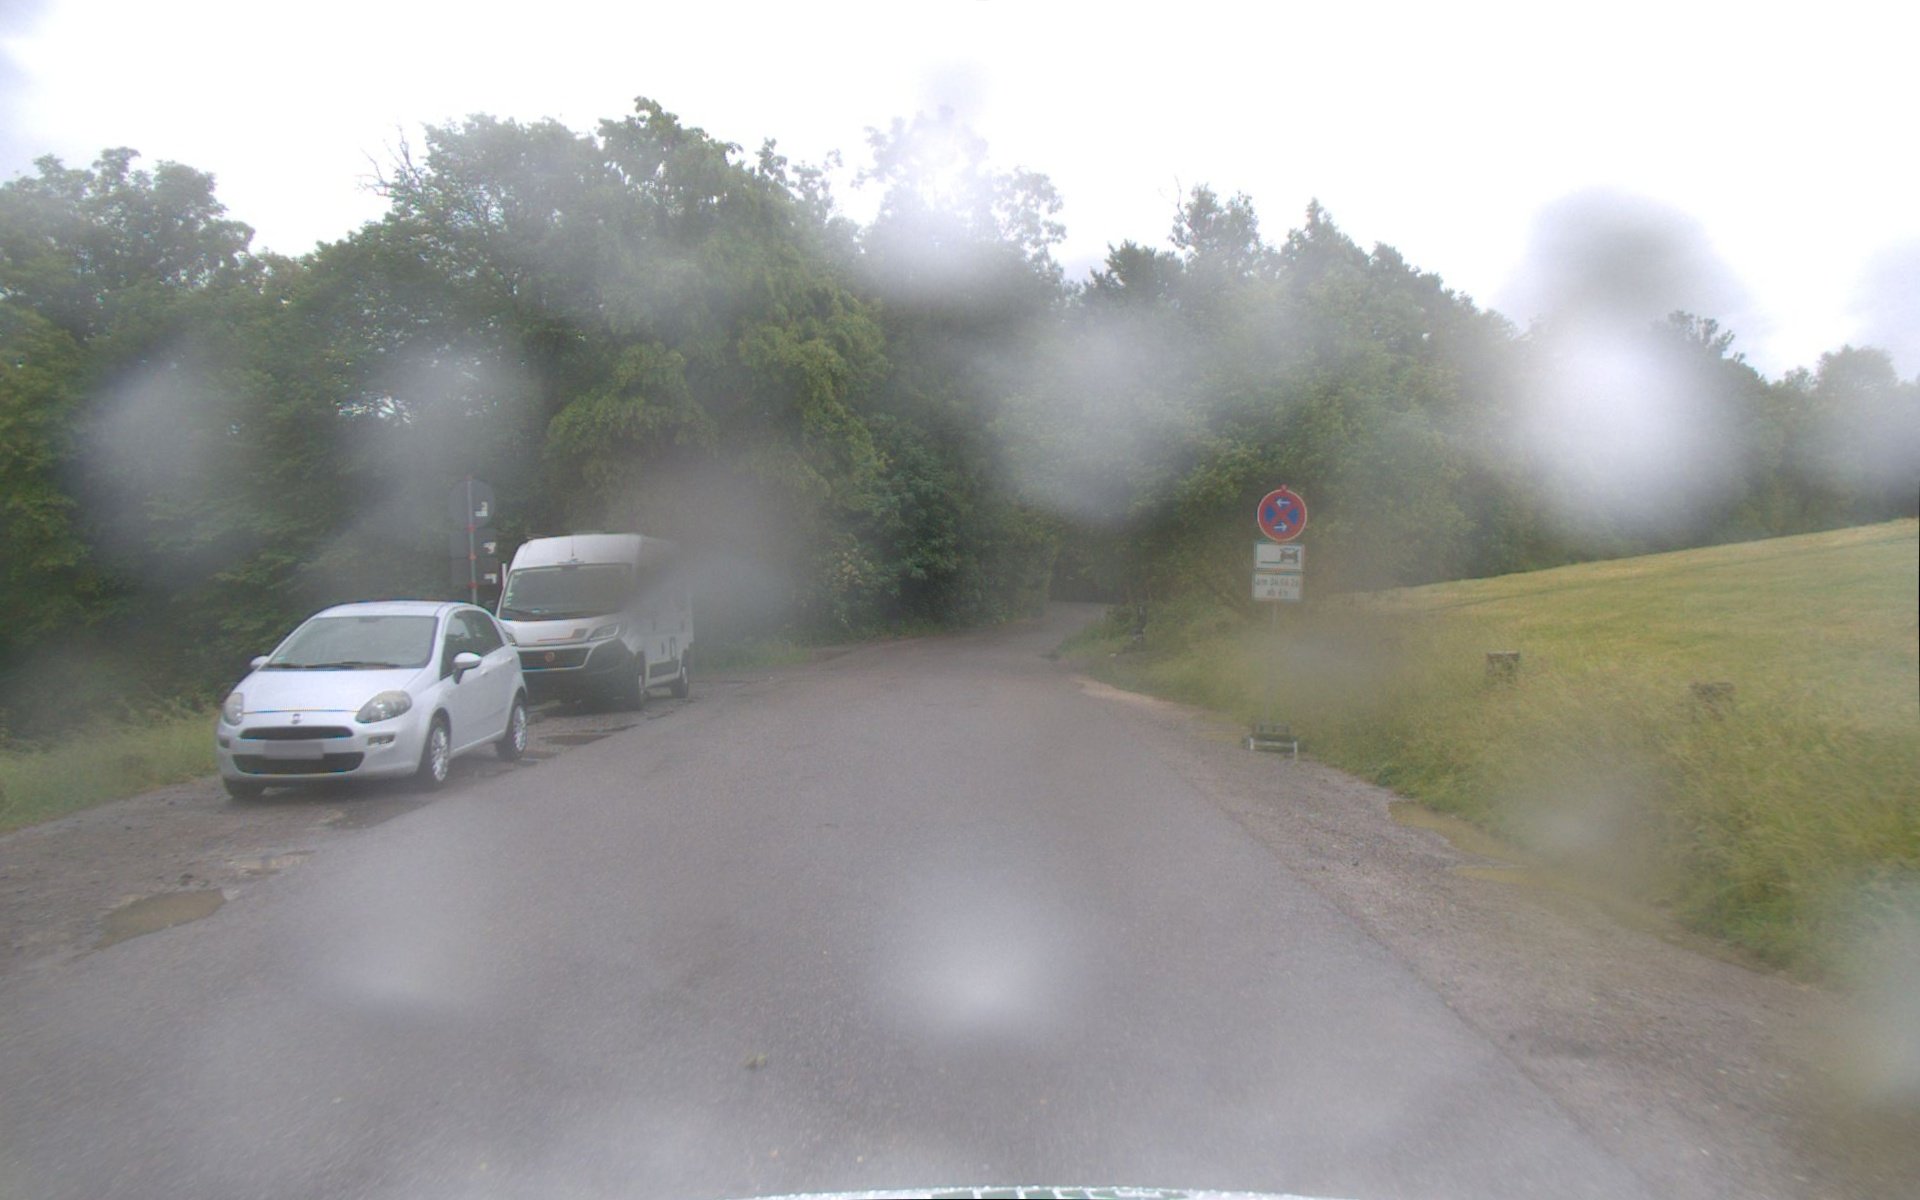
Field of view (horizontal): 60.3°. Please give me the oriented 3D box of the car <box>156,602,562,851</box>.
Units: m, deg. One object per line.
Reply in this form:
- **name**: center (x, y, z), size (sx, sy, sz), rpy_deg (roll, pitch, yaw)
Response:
- **car**: center (-4.913, 0.924, 14.282), size (1.823, 1.623, 4.495), rpy_deg (-3, 1, -1)

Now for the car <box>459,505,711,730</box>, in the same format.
- **car**: center (-5.251, 0.158, 24.200), size (2.227, 2.743, 6.048), rpy_deg (-3, 1, -1)
